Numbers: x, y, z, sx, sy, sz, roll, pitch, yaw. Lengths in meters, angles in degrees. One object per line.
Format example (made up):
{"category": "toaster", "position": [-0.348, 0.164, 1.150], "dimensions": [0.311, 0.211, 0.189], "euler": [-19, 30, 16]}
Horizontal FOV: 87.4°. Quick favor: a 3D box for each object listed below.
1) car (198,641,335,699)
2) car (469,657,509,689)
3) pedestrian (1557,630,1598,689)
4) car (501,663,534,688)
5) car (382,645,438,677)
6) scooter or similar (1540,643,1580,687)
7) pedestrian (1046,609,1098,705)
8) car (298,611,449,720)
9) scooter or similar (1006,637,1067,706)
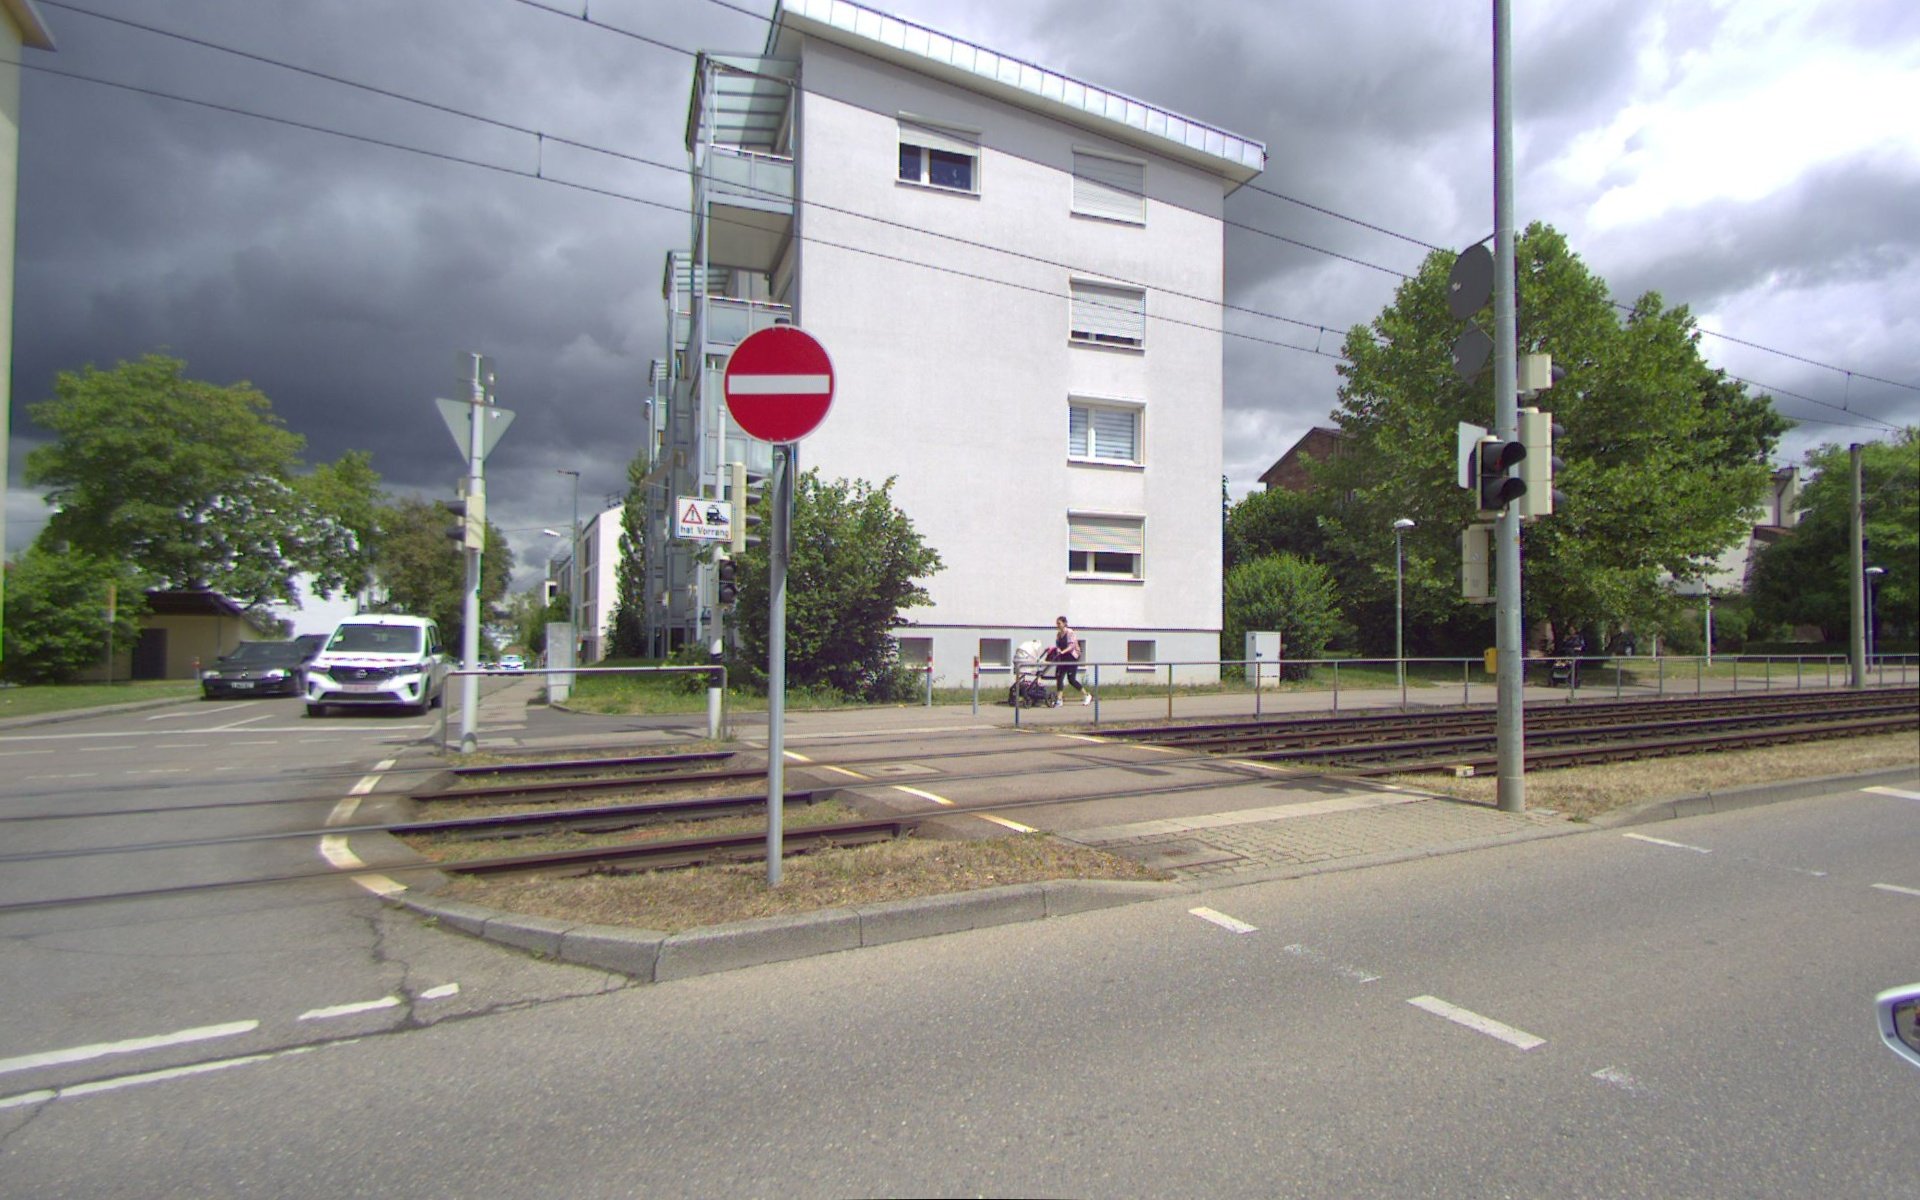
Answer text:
{"category": "car", "position": [-16.317, 1.616, 23.852], "dimensions": [1.895, 1.186, 3.977], "euler": [2, -2, -24]}
{"category": "car", "position": [-31.018, 4.798, 66.226], "dimensions": [1.970, 2.039, 3.983], "euler": [2, -4, -20]}
{"category": "pedestrian", "position": [16.712, 1.591, 27.198], "dimensions": [0.864, 1.560, 0.610], "euler": [2, -1, -31]}
{"category": "car", "position": [-33.132, 5.654, 75.234], "dimensions": [1.970, 1.799, 3.982], "euler": [2, -3, -21]}
{"category": "car", "position": [-25.455, 2.806, 46.620], "dimensions": [1.895, 1.312, 3.977], "euler": [2, -2, -24]}
{"category": "scooter or similar", "position": [15.993, 1.718, 26.757], "dimensions": [0.811, 1.130, 0.601], "euler": [2, -1, -31]}
{"category": "pedestrian", "position": [2.047, 1.024, 18.339], "dimensions": [0.671, 1.715, 0.642], "euler": [1, -1, -29]}
{"category": "car", "position": [-10.658, 1.132, 18.543], "dimensions": [1.784, 1.752, 4.269], "euler": [2, -2, -22]}
{"category": "scooter or similar", "position": [1.363, 1.266, 17.937], "dimensions": [0.881, 1.178, 0.605], "euler": [2, -1, -29]}
